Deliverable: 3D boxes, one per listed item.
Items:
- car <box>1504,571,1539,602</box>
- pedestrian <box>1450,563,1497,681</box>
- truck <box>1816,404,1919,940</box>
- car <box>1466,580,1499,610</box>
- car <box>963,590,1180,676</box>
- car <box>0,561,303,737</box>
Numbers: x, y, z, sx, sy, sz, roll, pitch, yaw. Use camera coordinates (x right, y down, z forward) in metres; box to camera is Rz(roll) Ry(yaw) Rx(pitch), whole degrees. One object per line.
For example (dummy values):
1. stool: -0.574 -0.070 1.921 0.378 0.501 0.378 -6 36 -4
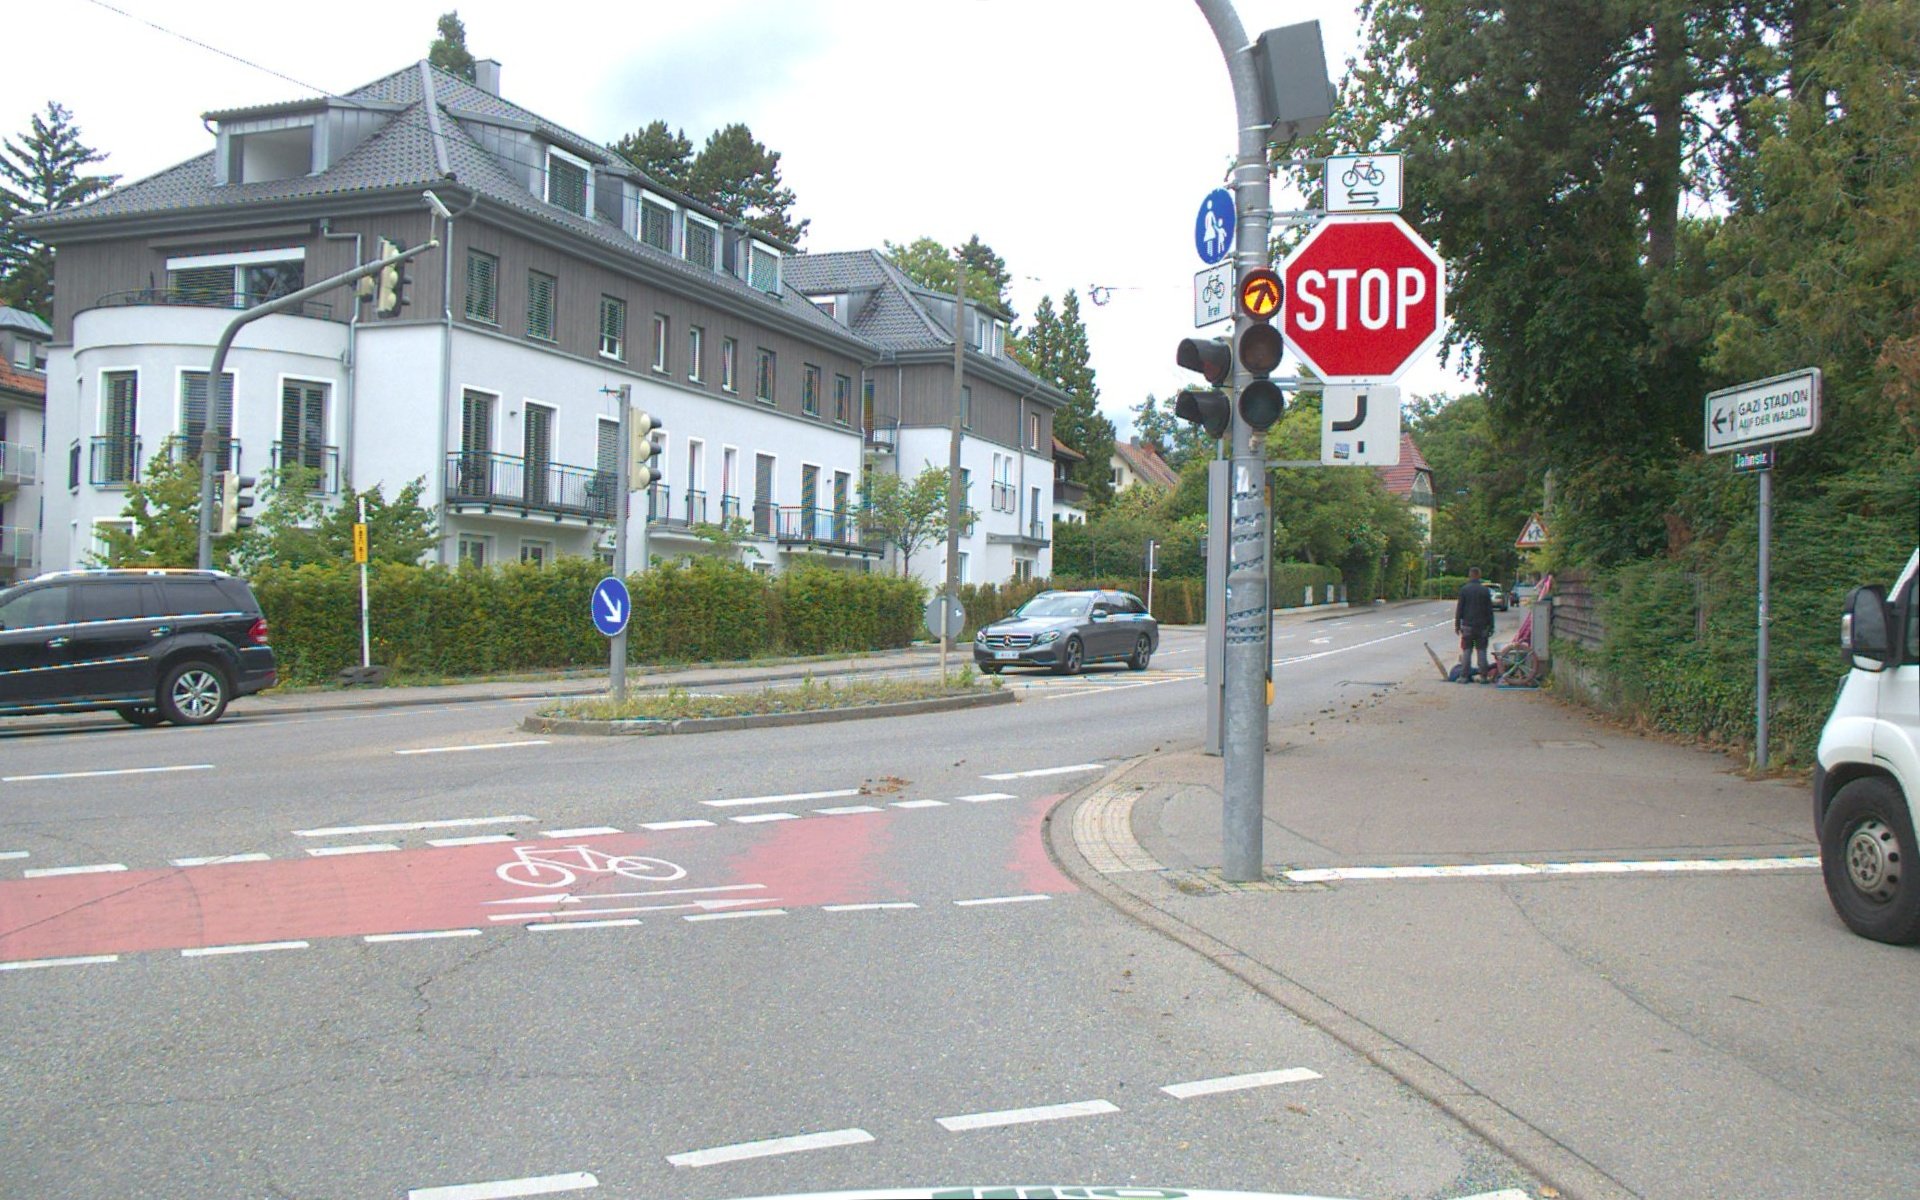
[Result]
1. car: 38.333 -0.881 112.839 1.953 2.049 3.999 1 0 23
2. pedestrian: 8.564 0.360 27.599 0.584 1.940 0.558 1 0 0
3. truck: 5.133 0.320 5.033 2.162 2.283 5.724 1 0 1
4. car: 31.669 -0.308 100.226 1.770 1.784 4.488 -1 0 19
5. car: 2.143 0.542 30.430 1.905 1.428 4.728 1 1 34
6. car: -10.577 0.548 19.338 1.885 1.913 5.108 -1 -1 43
